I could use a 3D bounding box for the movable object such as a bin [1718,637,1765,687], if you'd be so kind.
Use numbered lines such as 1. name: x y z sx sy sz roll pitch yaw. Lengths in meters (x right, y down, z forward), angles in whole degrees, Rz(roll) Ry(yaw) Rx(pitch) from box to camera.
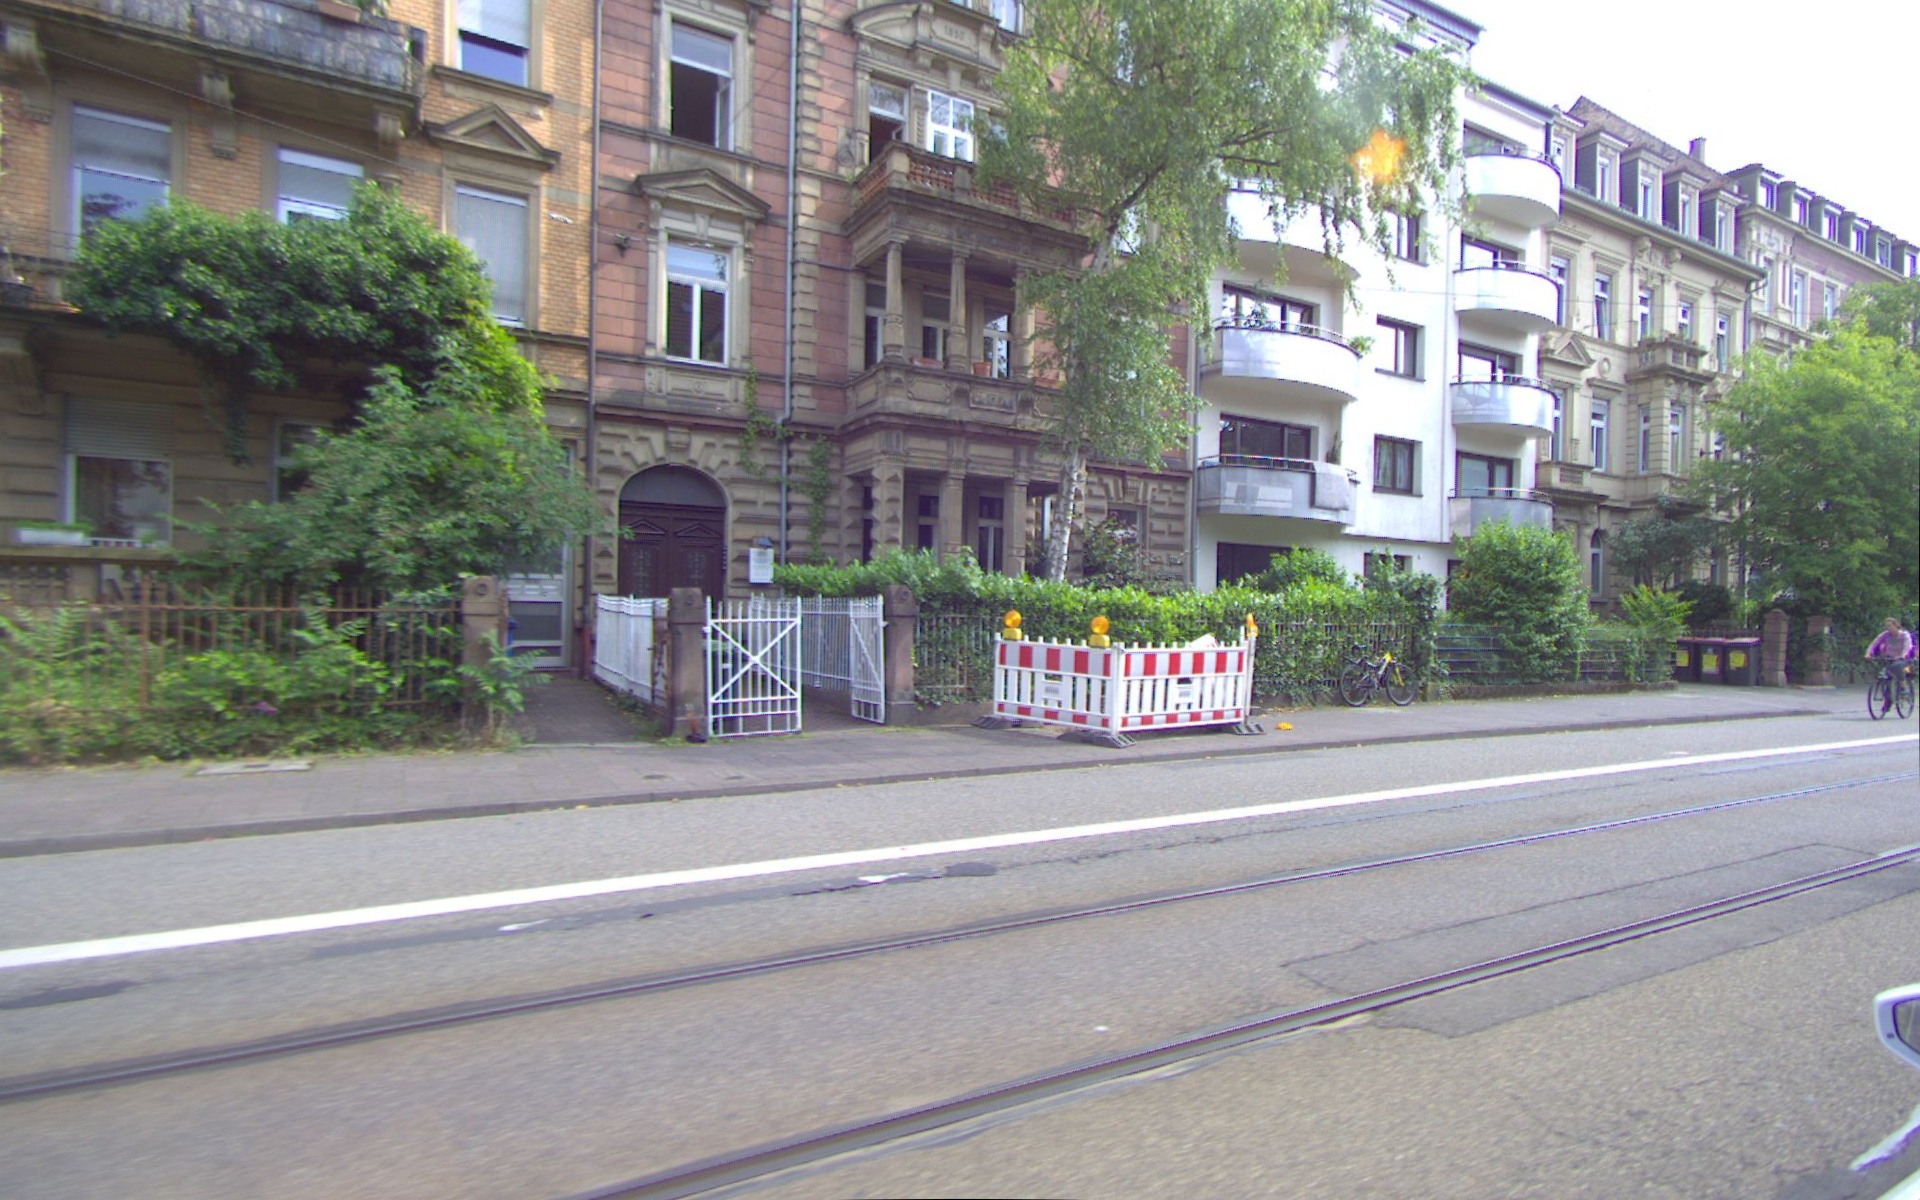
1. movable object such as a bin: 18.244 1.434 23.445 0.726 1.122 0.663 2 0 -33

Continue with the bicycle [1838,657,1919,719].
1. bicycle: 16.052 1.514 17.448 1.894 1.002 0.567 2 0 -28

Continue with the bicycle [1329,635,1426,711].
1. bicycle: 6.652 1.147 15.980 1.798 1.152 0.410 2 0 -30

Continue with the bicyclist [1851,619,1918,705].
1. bicyclist: 16.052 1.061 17.443 0.930 1.444 0.562 1 0 -28

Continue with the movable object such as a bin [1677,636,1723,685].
1. movable object such as a bin: 17.863 1.452 24.245 0.726 1.122 0.663 2 0 -33
